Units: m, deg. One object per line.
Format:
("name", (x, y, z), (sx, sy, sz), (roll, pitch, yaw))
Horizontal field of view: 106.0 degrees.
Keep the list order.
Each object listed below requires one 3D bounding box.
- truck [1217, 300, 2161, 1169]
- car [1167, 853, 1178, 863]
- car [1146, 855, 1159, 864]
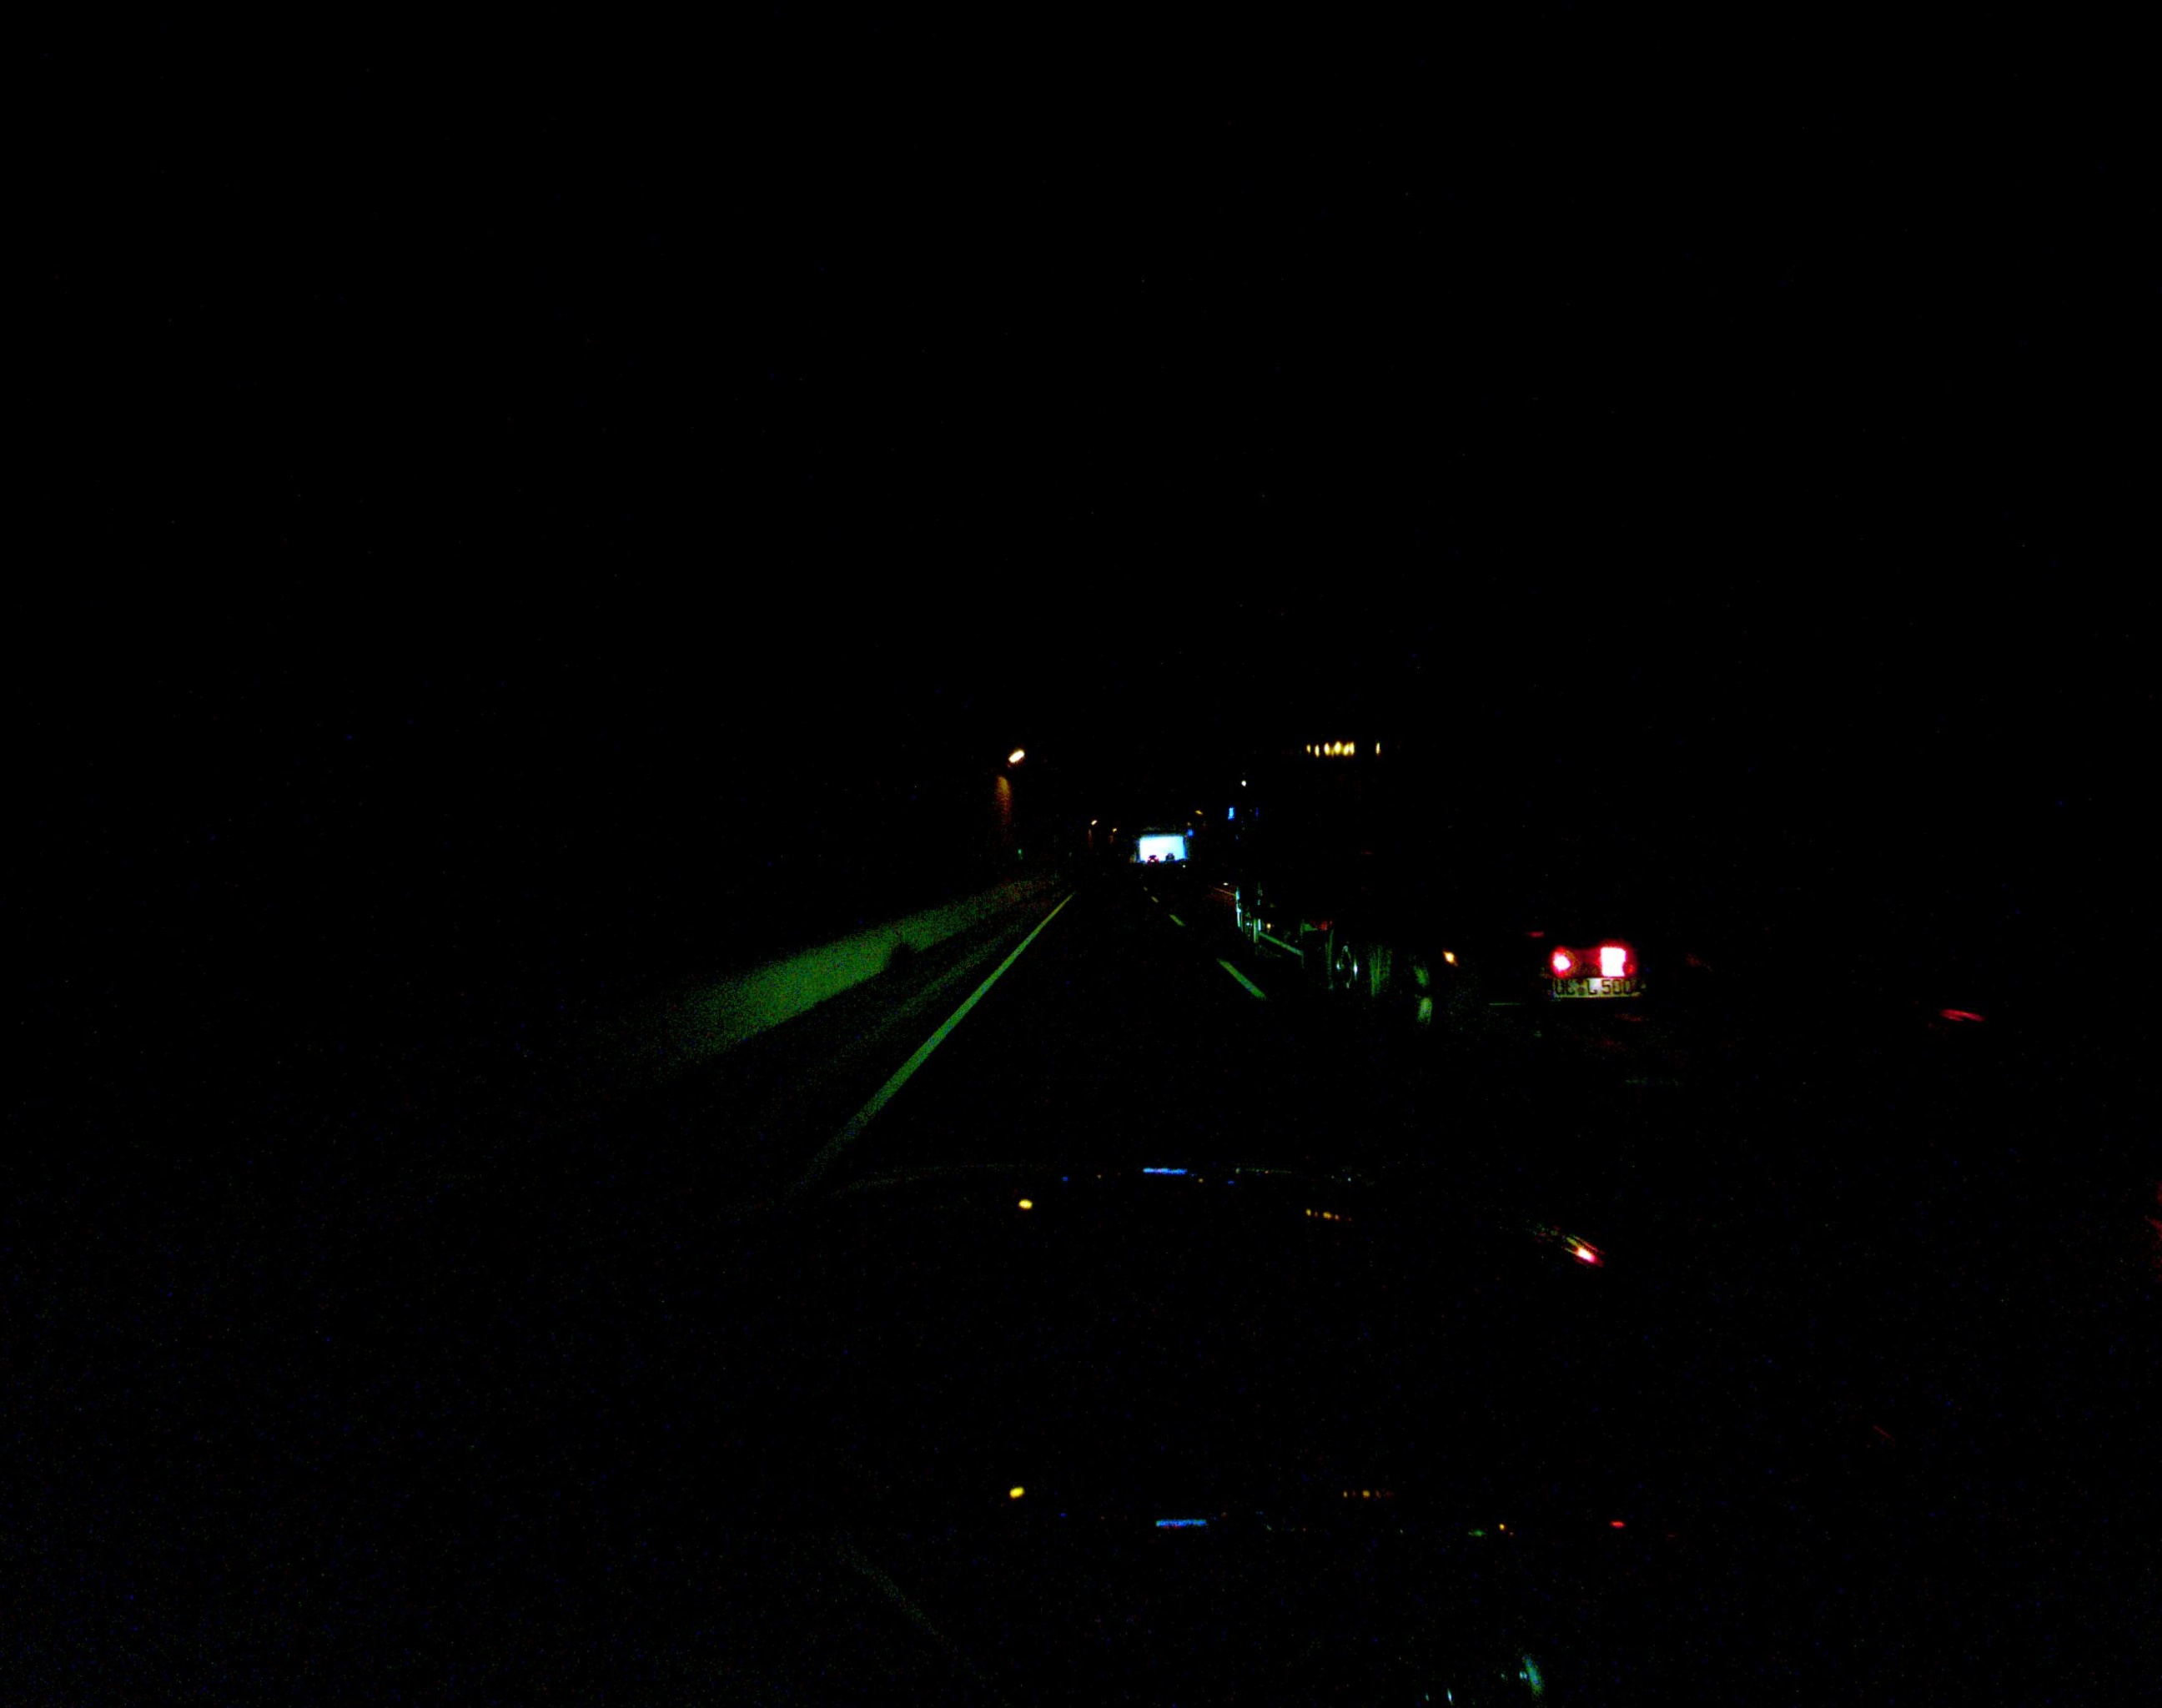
("truck", (3.670, -0.554, 8.692), (2.878, 3.913, 9.911), (-2, 0, 1))
("car", (16.894, 0.783, 150.285), (1.859, 1.732, 4.009), (-2, -1, 8))
("car", (11.563, 0.922, 131.275), (1.830, 1.388, 4.010), (-2, -1, 9))
